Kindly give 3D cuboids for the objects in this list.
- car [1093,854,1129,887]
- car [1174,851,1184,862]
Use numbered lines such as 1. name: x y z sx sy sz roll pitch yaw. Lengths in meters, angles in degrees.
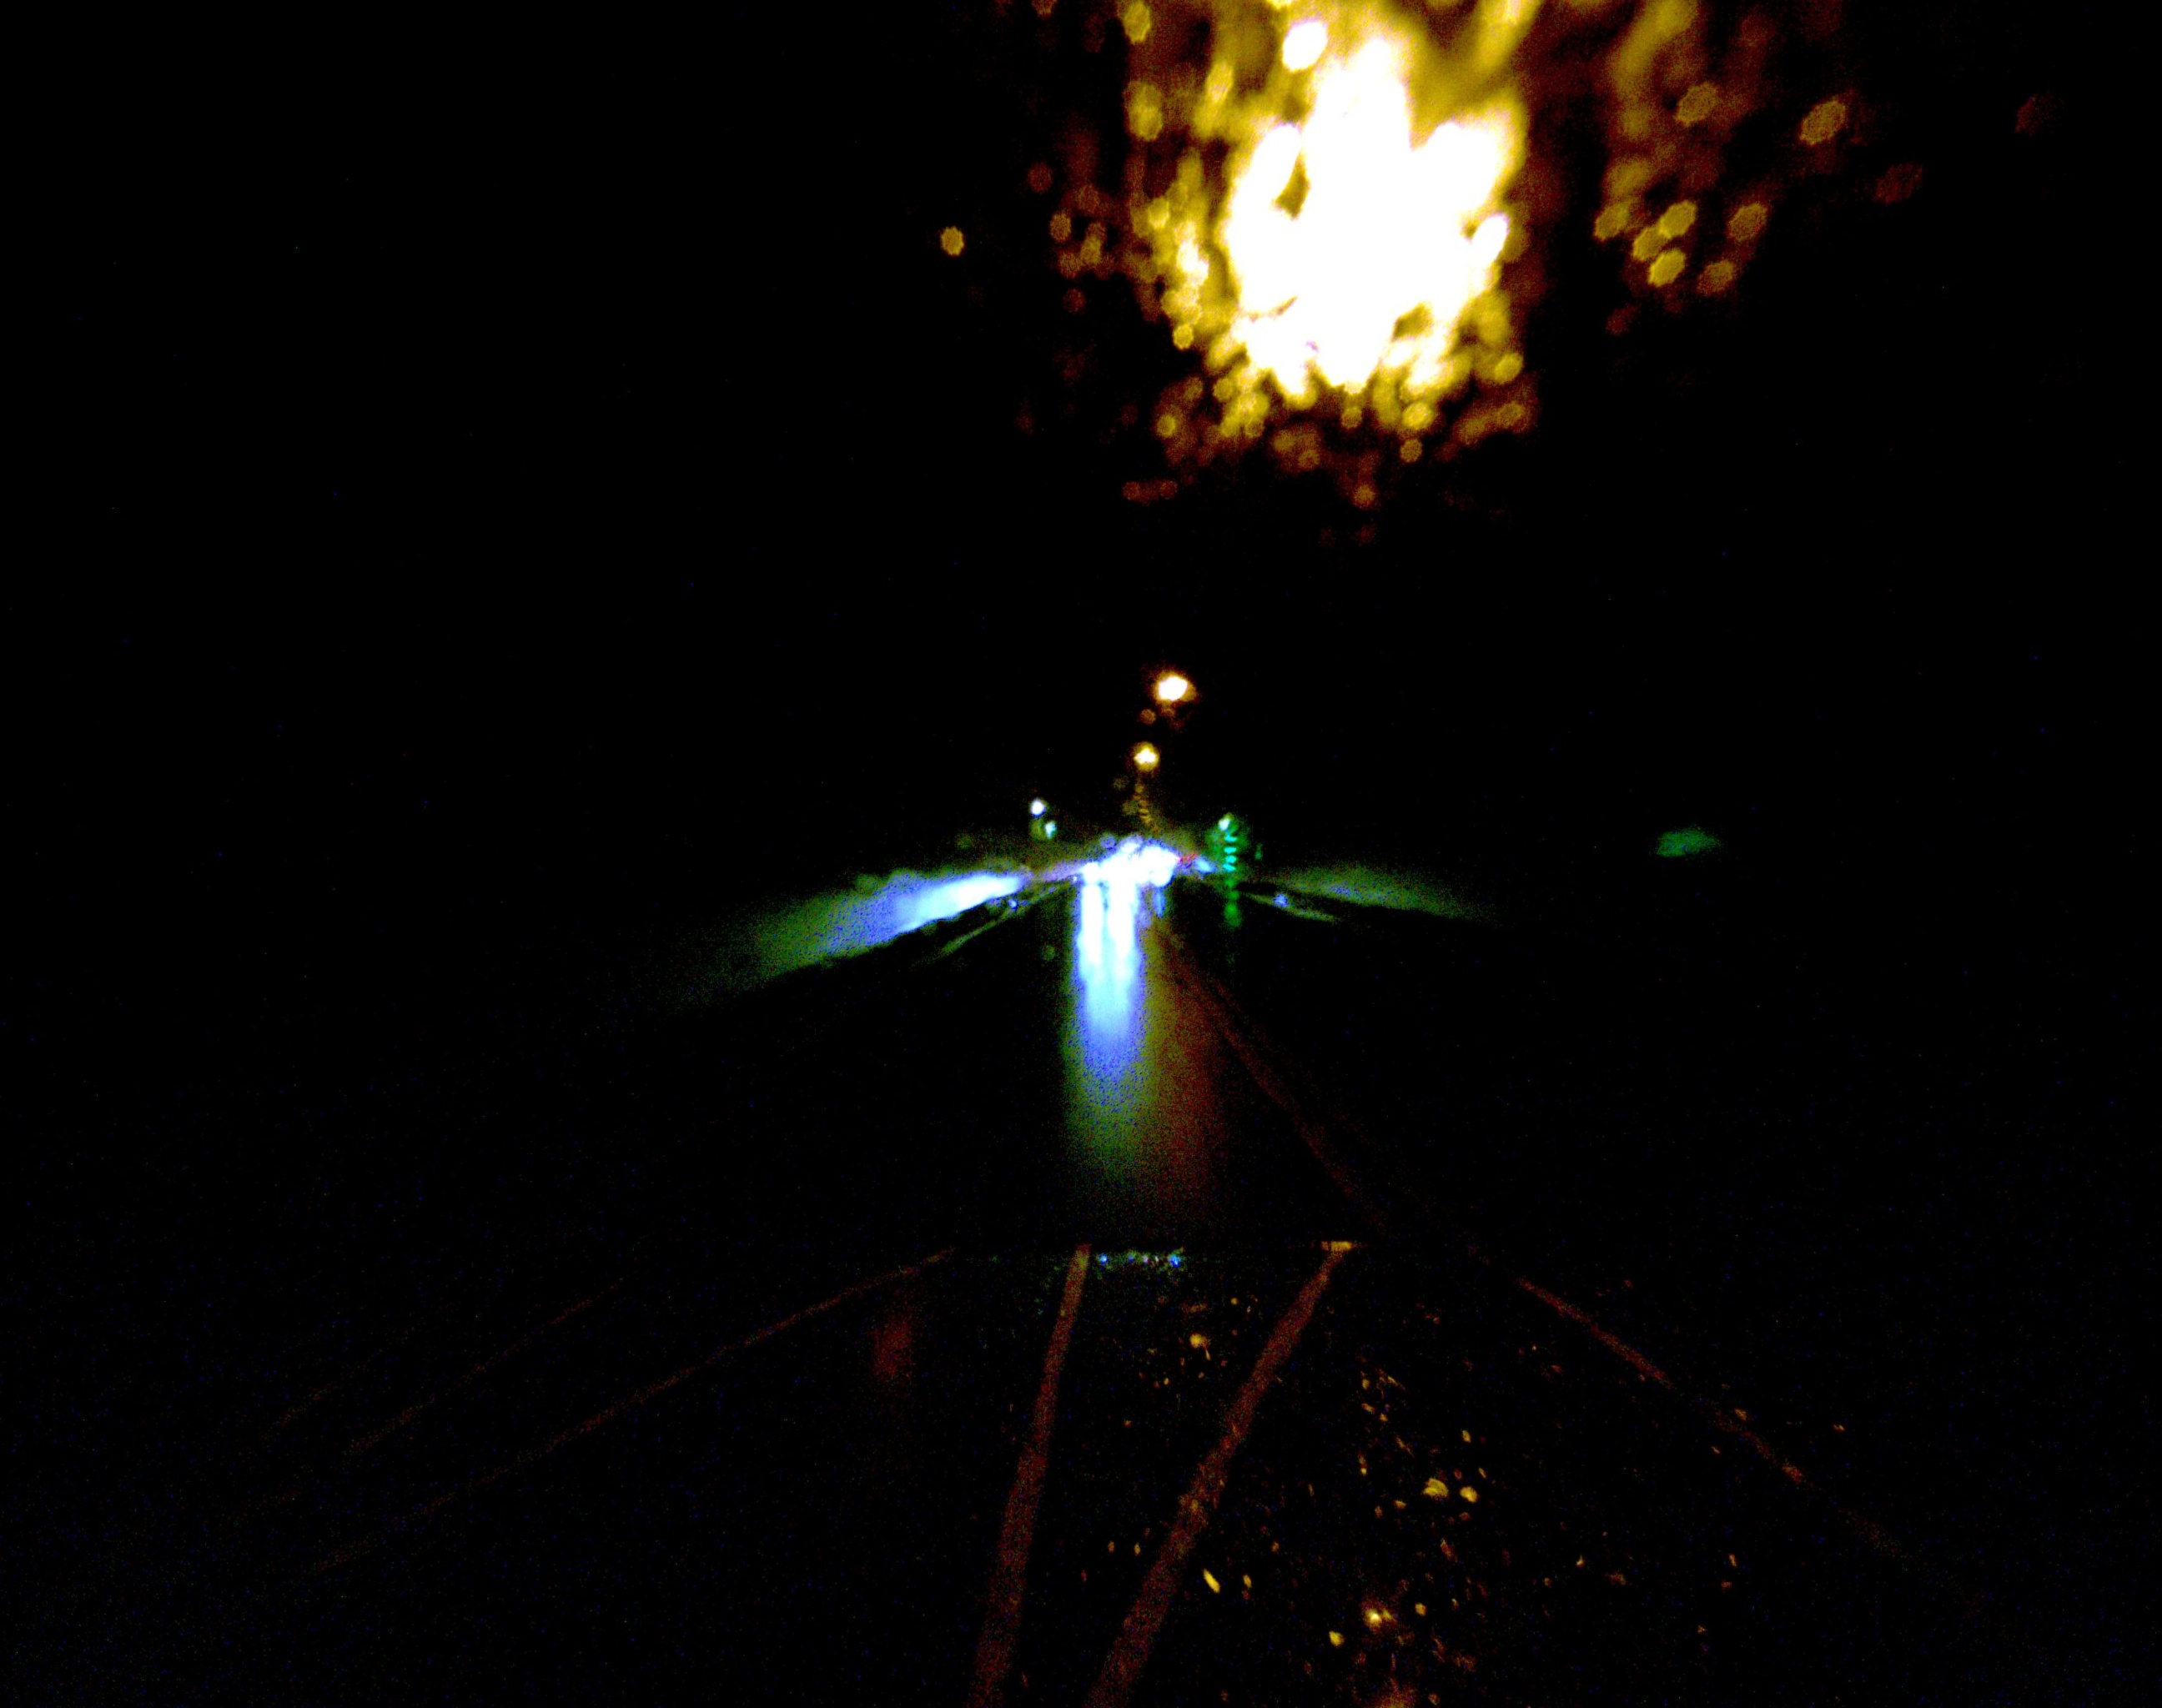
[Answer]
1. car: 1.621 0.845 40.690 1.730 1.595 4.000 -3 0 3
2. car: 16.028 0.387 124.285 1.634 1.640 3.777 -1 0 7
